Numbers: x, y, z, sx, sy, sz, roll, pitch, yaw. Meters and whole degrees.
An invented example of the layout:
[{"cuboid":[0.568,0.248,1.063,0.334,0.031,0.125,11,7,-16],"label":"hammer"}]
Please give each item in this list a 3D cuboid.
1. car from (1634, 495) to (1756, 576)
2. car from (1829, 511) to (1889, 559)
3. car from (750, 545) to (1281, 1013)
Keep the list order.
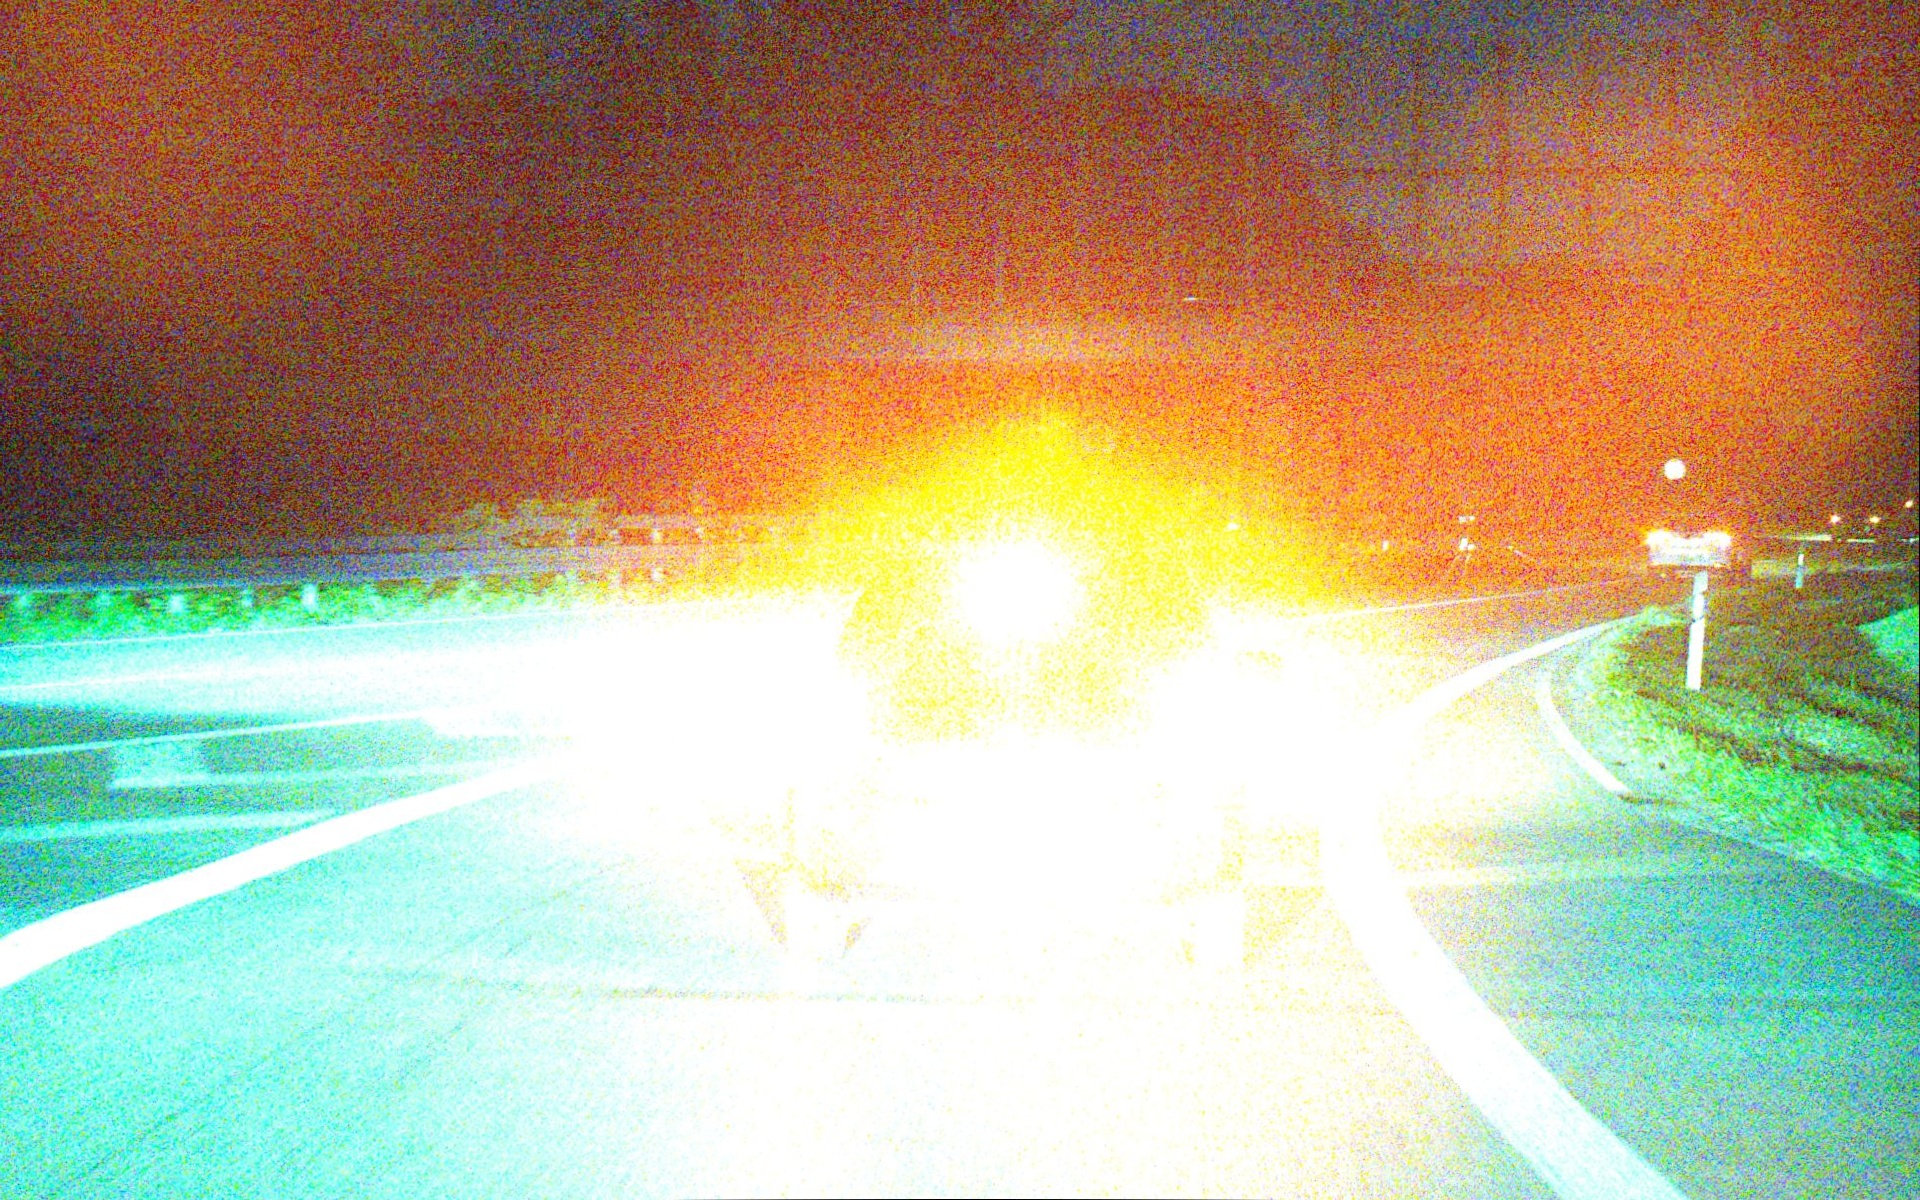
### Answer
[{"cuboid":[15.382,-1.315,71.787,1.953,1.533,4.237,-3,-1,19],"label":"car"},{"cuboid":[32.245,-2.347,123.233,1.735,1.612,3.795,2,2,19],"label":"car"},{"cuboid":[0.220,0.558,13.326,1.691,1.472,4.000,2,1,1],"label":"car"}]
